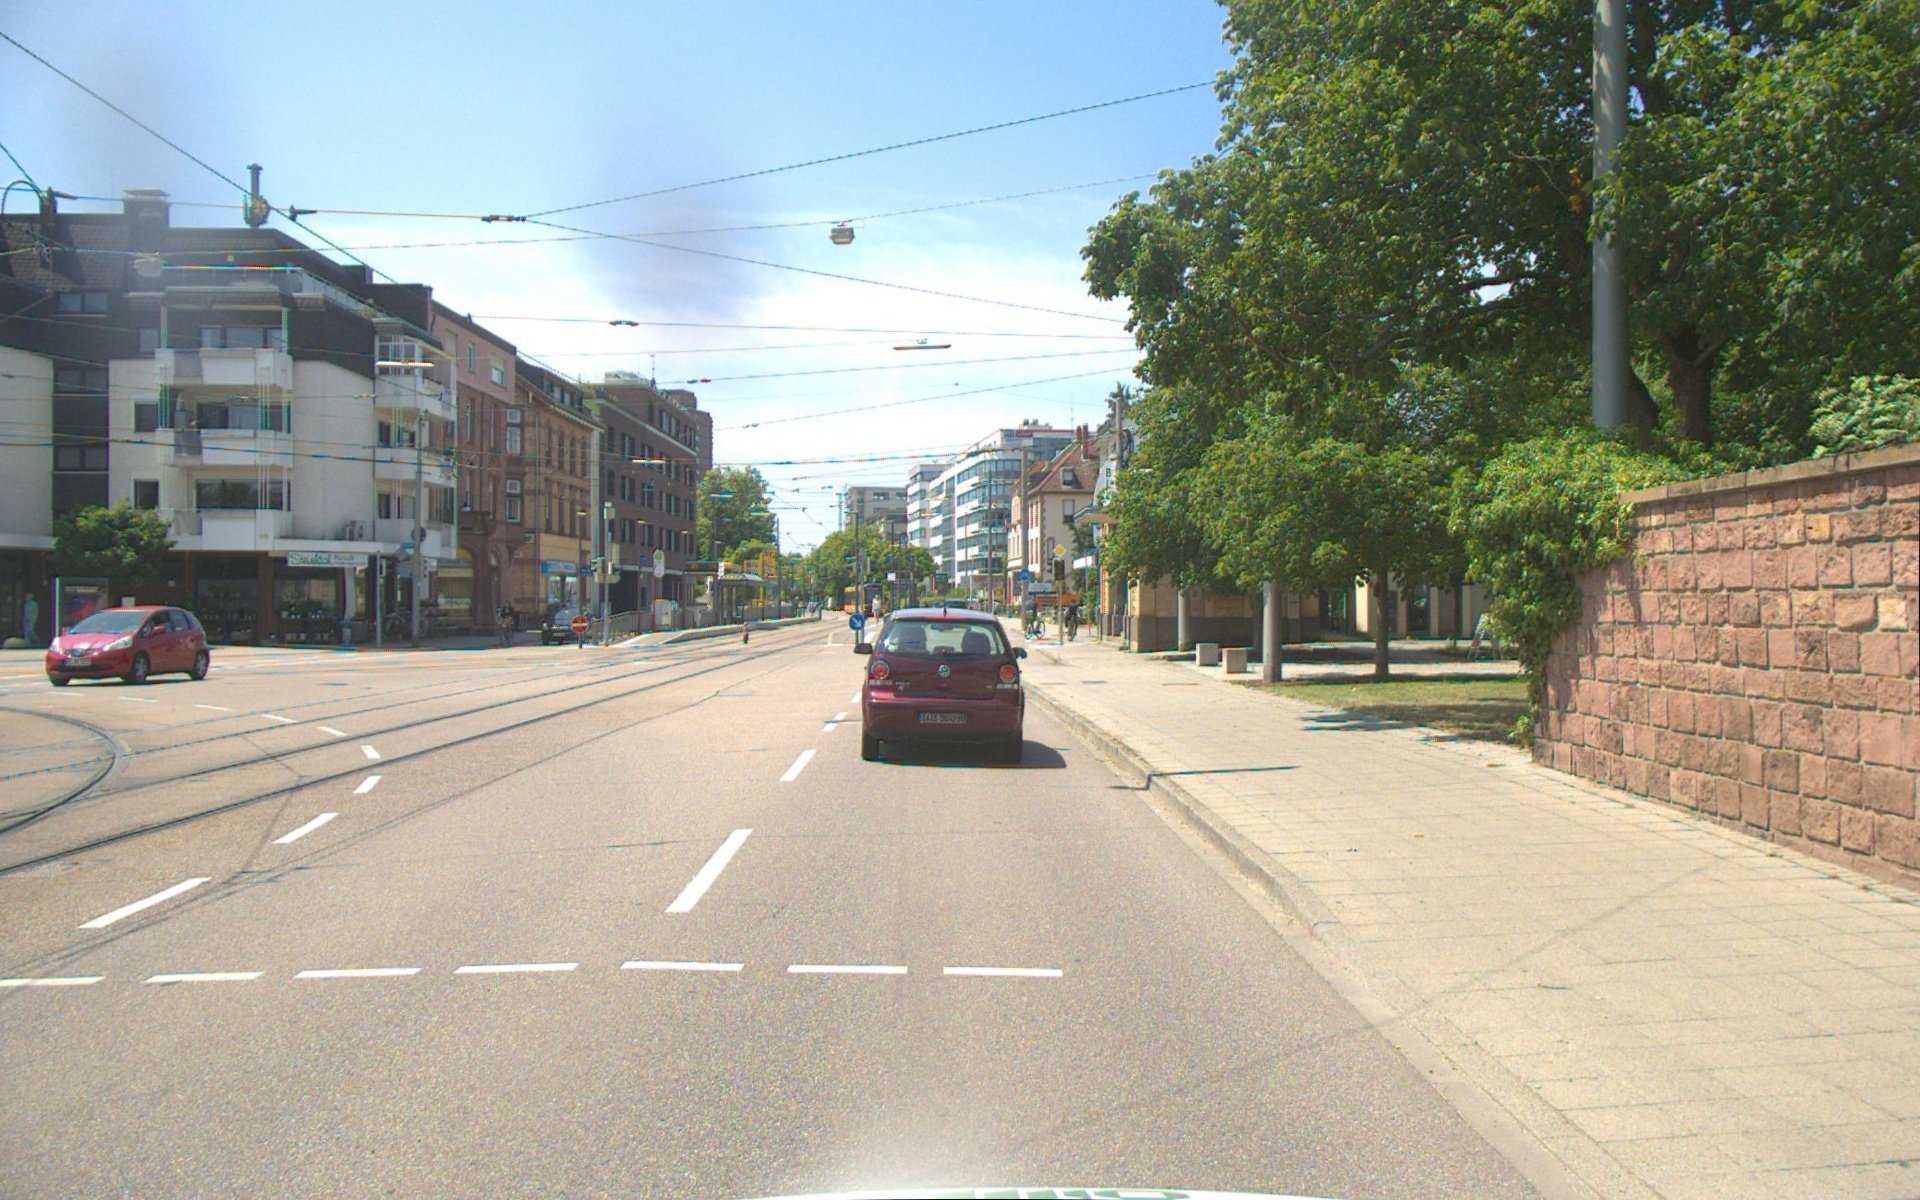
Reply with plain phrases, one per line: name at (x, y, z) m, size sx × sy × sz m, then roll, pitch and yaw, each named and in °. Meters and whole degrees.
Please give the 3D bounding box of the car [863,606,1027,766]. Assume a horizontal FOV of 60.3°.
car at (-0.168, 0.807, 16.992) m, size 1.529 × 1.479 × 3.061 m, roll 0°, pitch 0°, yaw -1°

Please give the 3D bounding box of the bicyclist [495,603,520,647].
bicyclist at (-18.559, 1.006, 67.885) m, size 0.717 × 1.793 × 1.134 m, roll 0°, pitch 0°, yaw -2°

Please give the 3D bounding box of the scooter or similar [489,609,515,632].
scooter or similar at (-22.469, 0.989, 81.173) m, size 0.477 × 1.101 × 1.578 m, roll -1°, pitch 0°, yaw 16°

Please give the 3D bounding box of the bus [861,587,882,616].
bus at (-9.376, 0.176, 175.396) m, size 2.102 × 3.055 × 6.570 m, roll 0°, pitch 0°, yaw -2°

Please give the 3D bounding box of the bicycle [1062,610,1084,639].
bicycle at (4.457, 0.960, 65.500) m, size 0.655 × 1.020 × 1.863 m, roll -4°, pitch 1°, yaw -1°

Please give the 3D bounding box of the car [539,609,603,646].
car at (-15.986, 1.110, 68.105) m, size 1.674 × 1.464 × 3.865 m, roll 0°, pitch 0°, yaw 1°

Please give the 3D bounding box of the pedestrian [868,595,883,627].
pedestrian at (-4.650, 0.600, 90.849) m, size 0.747 × 1.704 × 1.100 m, roll 0°, pitch 0°, yaw 0°

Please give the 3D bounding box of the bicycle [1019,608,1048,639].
bicycle at (3.010, 0.949, 67.782) m, size 0.368 × 1.218 × 1.902 m, roll -1°, pitch 0°, yaw 28°

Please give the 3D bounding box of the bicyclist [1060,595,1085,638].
bicyclist at (4.464, 0.649, 65.541) m, size 0.815 × 1.646 × 0.860 m, roll -4°, pitch 1°, yaw -1°

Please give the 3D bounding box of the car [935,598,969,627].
car at (-0.486, 0.746, 97.113) m, size 1.953 × 1.653 × 4.631 m, roll 0°, pitch 0°, yaw -1°

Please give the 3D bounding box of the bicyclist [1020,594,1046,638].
bicyclist at (2.991, 0.654, 67.832) m, size 0.713 × 1.791 × 0.922 m, roll -1°, pitch 0°, yaw 29°

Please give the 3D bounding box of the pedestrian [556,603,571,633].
pedestrian at (-20.742, 0.943, 86.483) m, size 0.602 × 1.588 × 0.640 m, roll -1°, pitch 0°, yaw -1°

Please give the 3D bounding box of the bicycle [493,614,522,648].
bicycle at (-18.536, 1.250, 67.778) m, size 0.663 × 1.327 × 2.104 m, roll 0°, pitch 0°, yaw -2°

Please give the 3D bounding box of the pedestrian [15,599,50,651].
pedestrian at (-31.197, 0.841, 55.644) m, size 0.685 × 1.726 × 0.808 m, roll 0°, pitch 0°, yaw 2°

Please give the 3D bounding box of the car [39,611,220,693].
car at (-16.448, 0.982, 32.972) m, size 1.590 × 1.510 × 3.830 m, roll 0°, pitch 0°, yaw 2°
